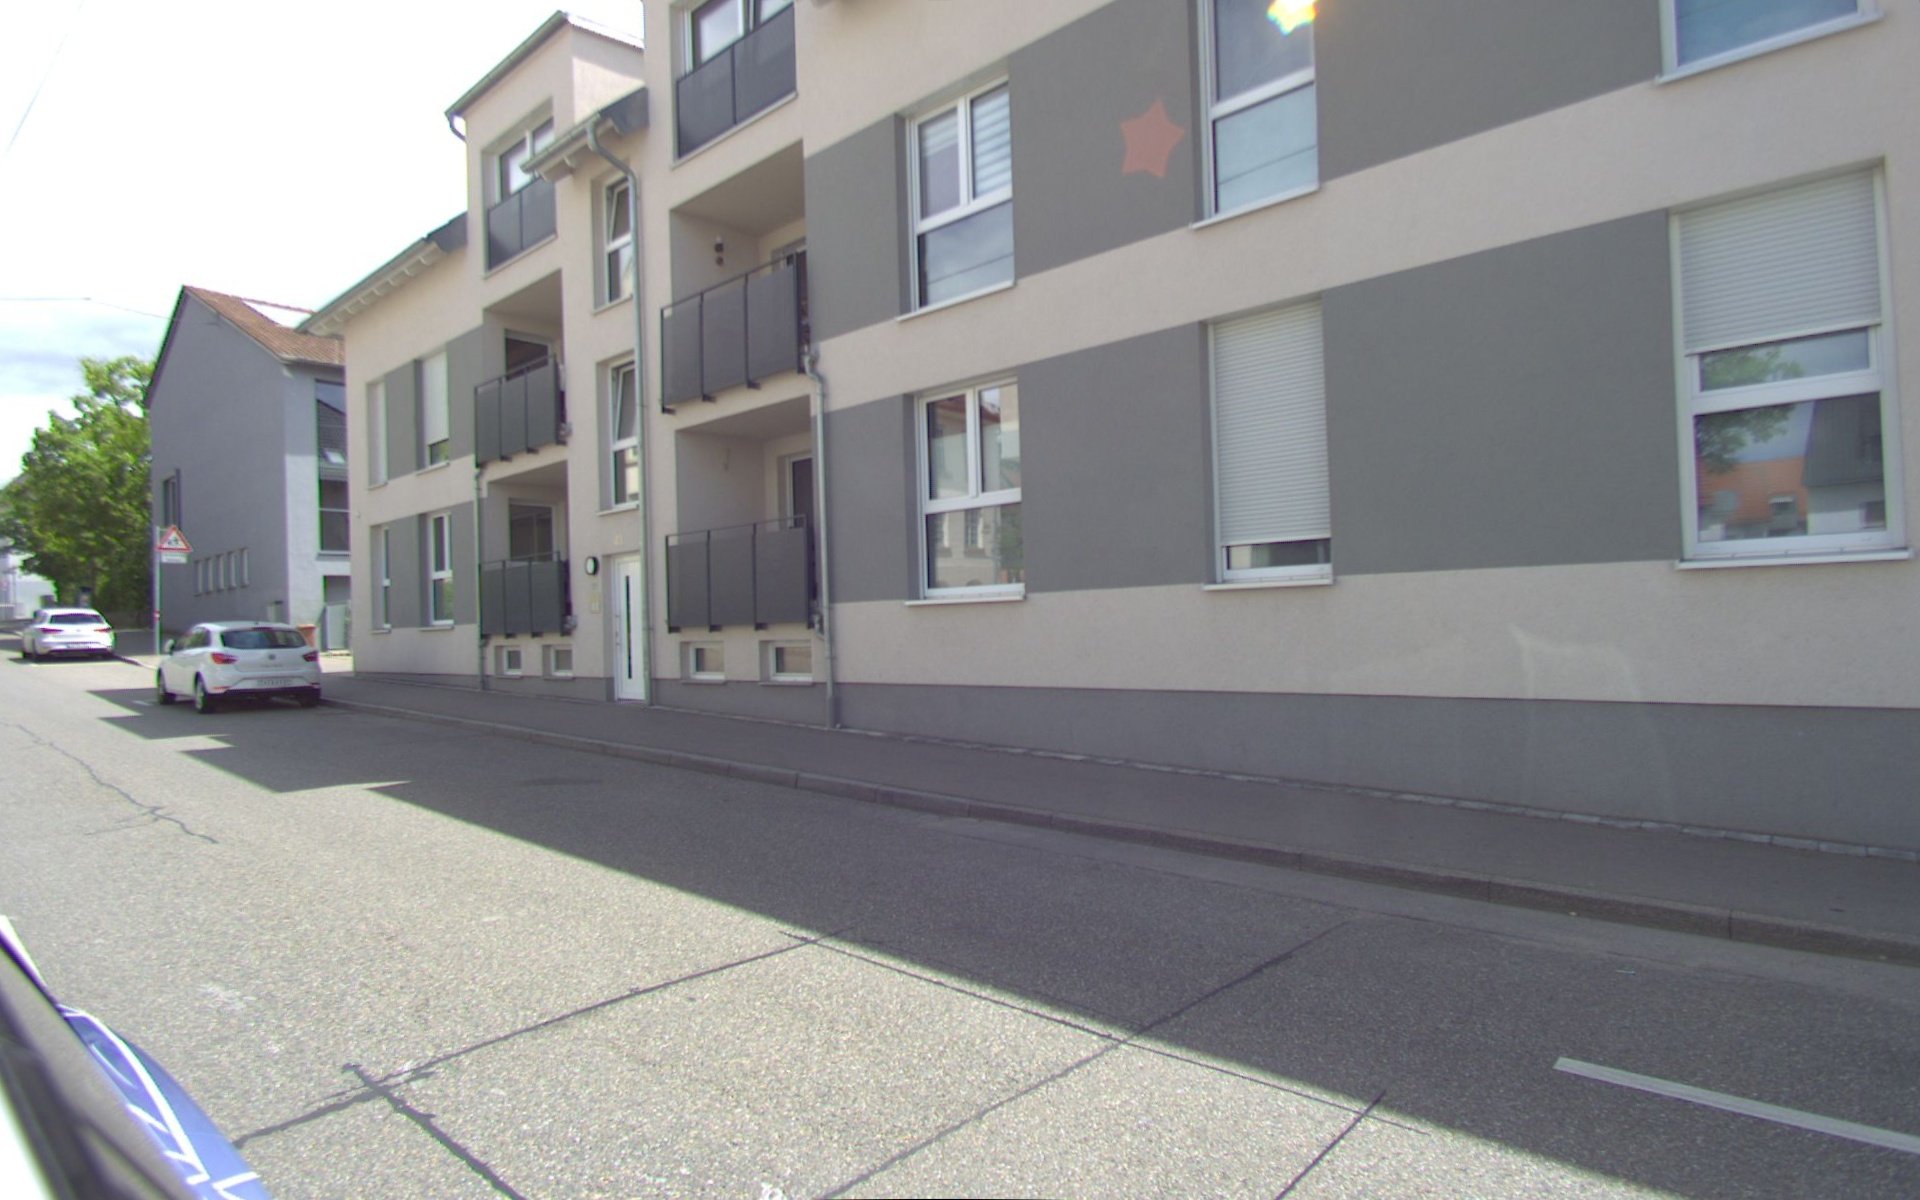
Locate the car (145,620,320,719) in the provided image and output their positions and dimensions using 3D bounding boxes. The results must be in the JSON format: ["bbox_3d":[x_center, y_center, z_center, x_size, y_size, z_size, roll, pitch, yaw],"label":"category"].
[{"bbox_3d":[-12.462,1.094,17.265,3.697,1.429,1.630,-1,1,41],"label":"car"}]

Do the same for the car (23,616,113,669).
[{"bbox_3d":[-25.591,1.197,29.007,3.867,1.401,1.678,-2,-1,45],"label":"car"}]

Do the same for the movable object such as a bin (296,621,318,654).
[{"bbox_3d":[-18.929,1.088,29.337,0.399,0.936,0.449,0,-1,41],"label":"movable object such as a bin"}]
